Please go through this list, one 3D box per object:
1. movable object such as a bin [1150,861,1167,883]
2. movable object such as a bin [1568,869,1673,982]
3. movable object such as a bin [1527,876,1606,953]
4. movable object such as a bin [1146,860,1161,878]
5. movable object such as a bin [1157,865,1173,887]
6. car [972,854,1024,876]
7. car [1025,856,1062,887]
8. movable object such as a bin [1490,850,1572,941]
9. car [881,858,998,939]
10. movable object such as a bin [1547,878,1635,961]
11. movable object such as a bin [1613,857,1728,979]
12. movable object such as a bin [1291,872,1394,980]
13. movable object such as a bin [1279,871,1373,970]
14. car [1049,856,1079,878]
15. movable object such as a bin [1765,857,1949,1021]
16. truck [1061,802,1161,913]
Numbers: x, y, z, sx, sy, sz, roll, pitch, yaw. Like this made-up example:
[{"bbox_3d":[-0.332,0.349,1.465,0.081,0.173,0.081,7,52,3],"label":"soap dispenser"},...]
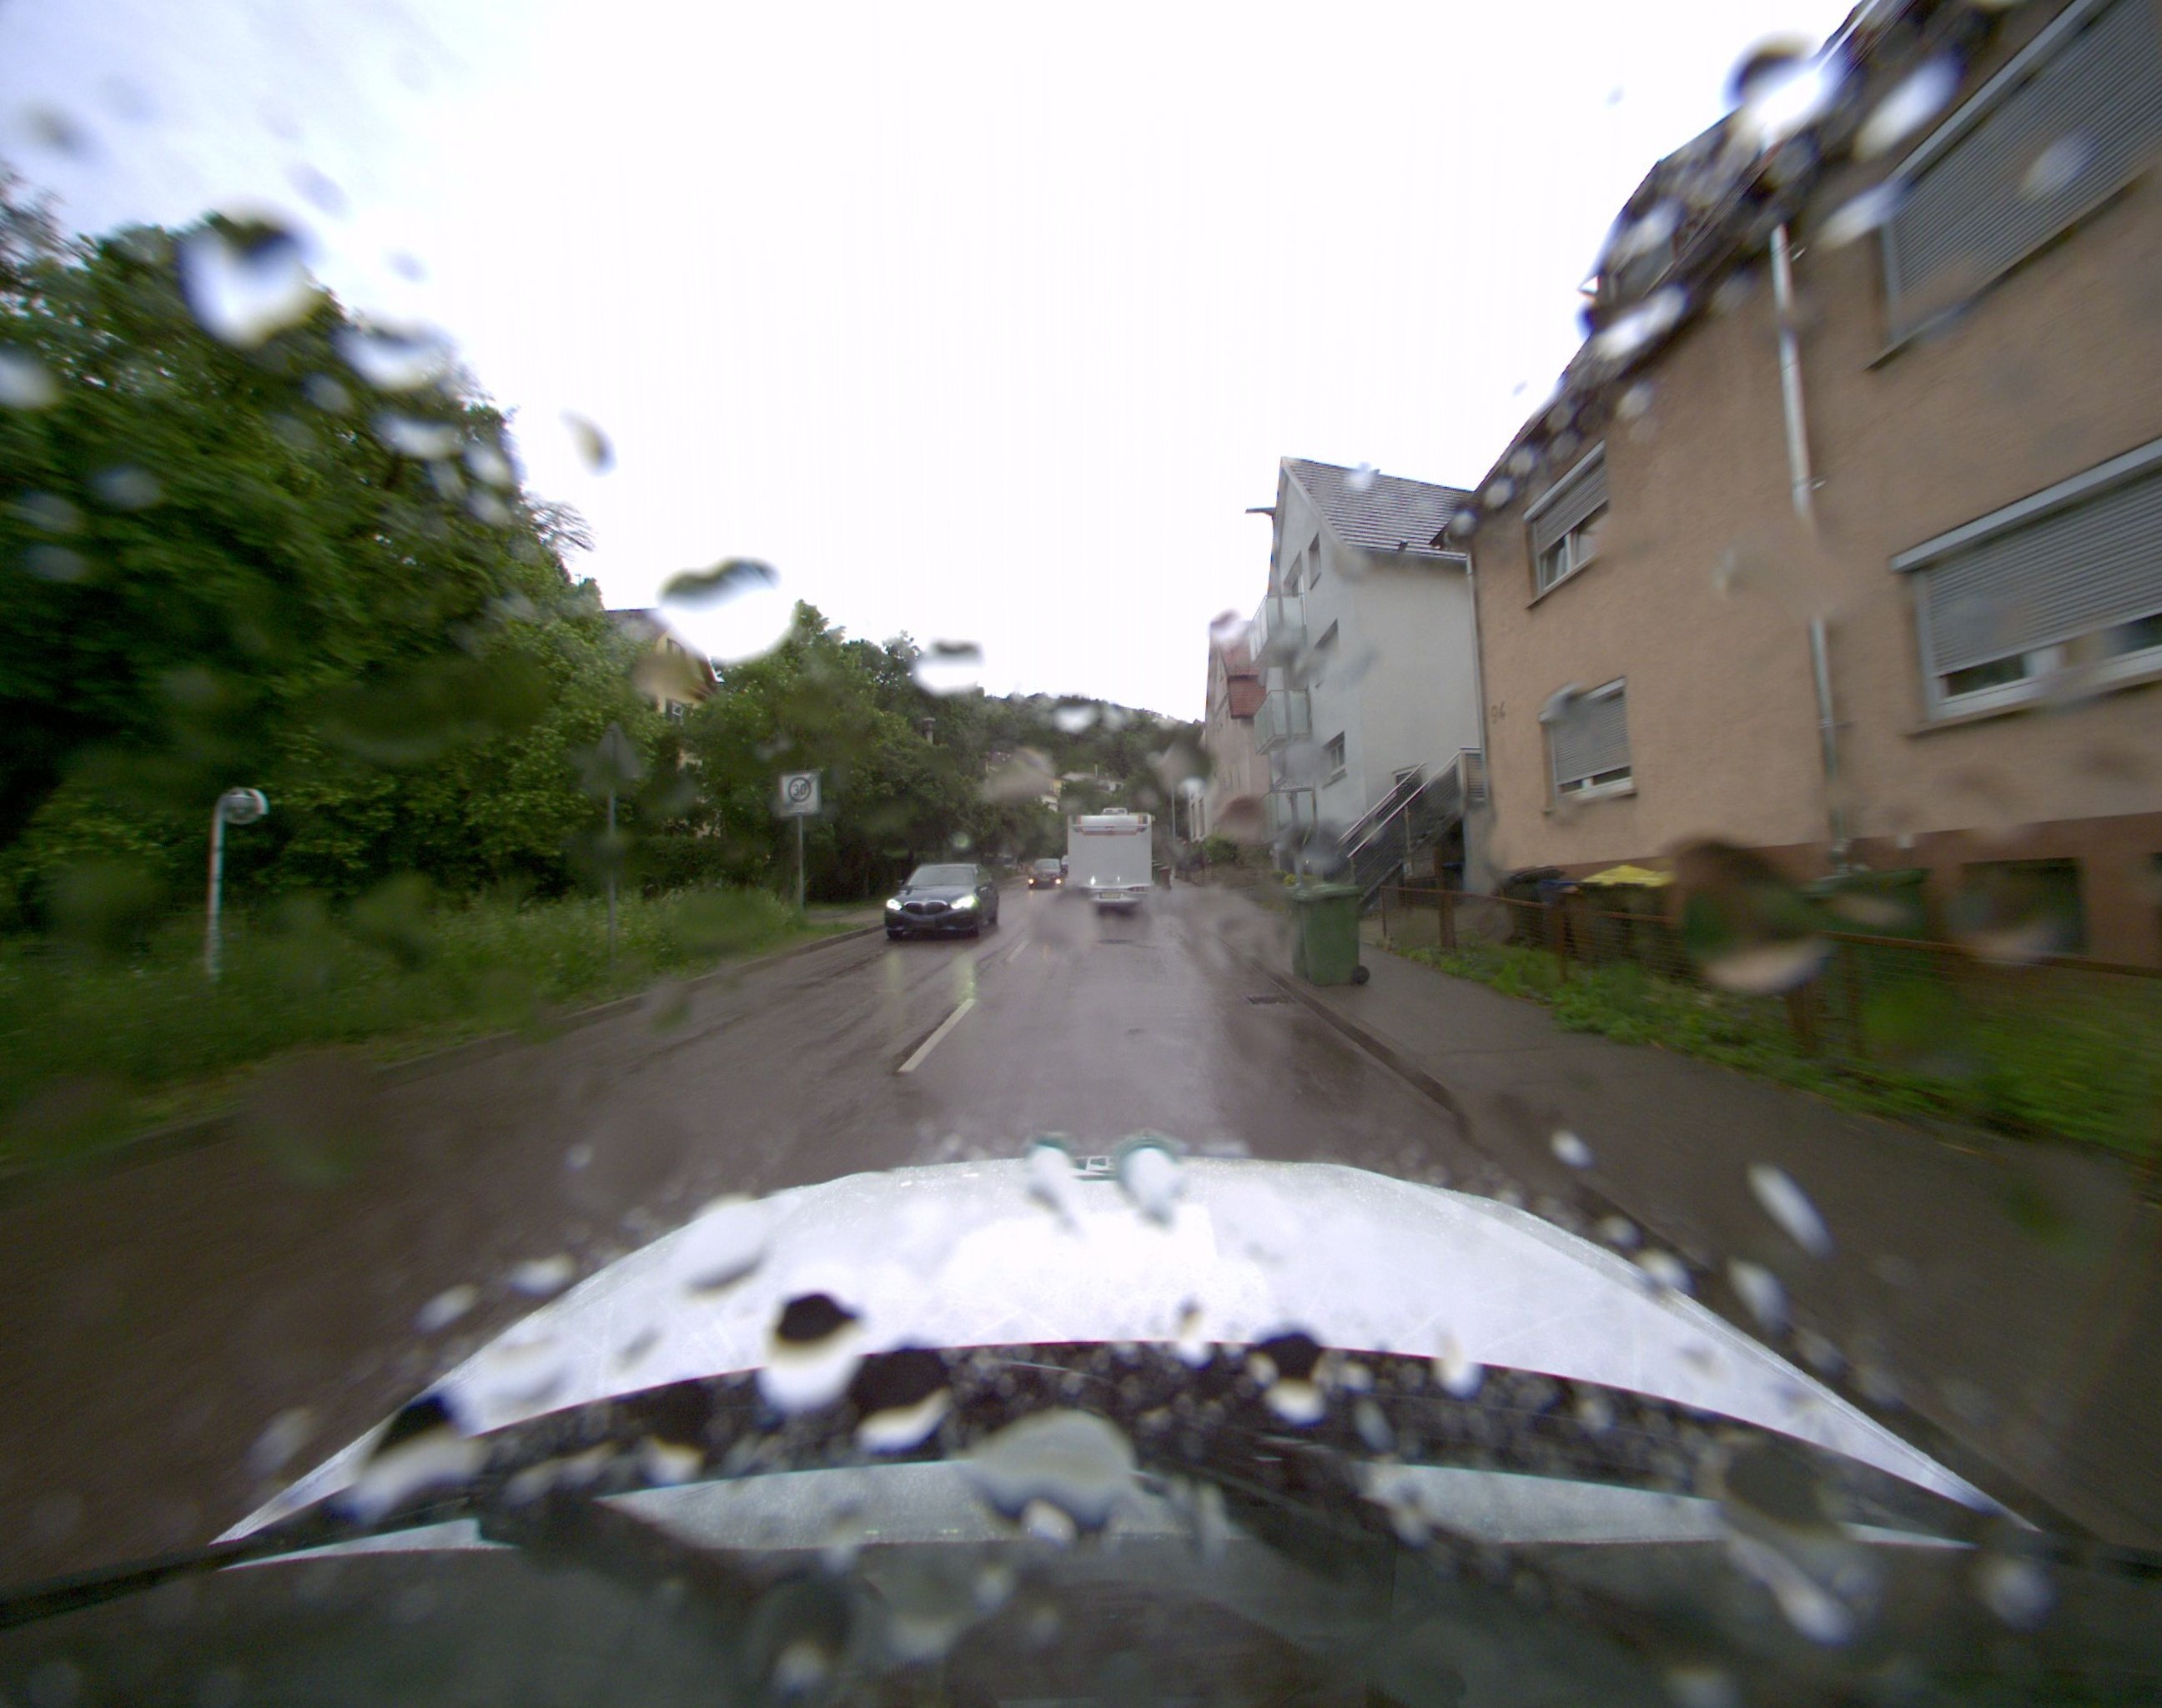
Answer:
[{"bbox_3d":[3.940,0.903,41.412,0.793,1.070,0.762,-1,0,3],"label":"movable object such as a bin"},{"bbox_3d":[5.722,0.743,8.663,0.658,1.093,0.545,-5,0,0],"label":"movable object such as a bin"},{"bbox_3d":[5.925,0.726,9.956,0.635,0.895,0.536,-1,0,1],"label":"movable object such as a bin"},{"bbox_3d":[4.339,0.876,48.866,0.832,1.061,0.750,-1,0,3],"label":"movable object such as a bin"},{"bbox_3d":[3.502,0.924,33.978,0.628,0.897,0.712,-1,0,2],"label":"movable object such as a bin"},{"bbox_3d":[-7.037,0.923,69.344,4.088,1.800,2.002,-1,0,3],"label":"car"},{"bbox_3d":[-1.831,0.860,40.868,1.613,1.441,3.738,-1,0,1],"label":"car"},{"bbox_3d":[5.813,0.525,10.544,0.658,1.093,0.545,-5,0,0],"label":"movable object such as a bin"},{"bbox_3d":[-2.799,0.830,16.956,1.713,1.430,3.844,-1,0,0],"label":"car"},{"bbox_3d":[5.858,0.746,9.385,0.667,0.895,0.536,-1,0,1],"label":"movable object such as a bin"},{"bbox_3d":[5.776,0.607,8.008,0.642,1.093,0.545,-5,0,0],"label":"movable object such as a bin"},{"bbox_3d":[2.836,0.768,8.902,0.910,1.103,0.703,-1,0,4],"label":"movable object such as a bin"},{"bbox_3d":[2.881,0.768,9.650,0.910,1.103,0.703,-1,0,4],"label":"movable object such as a bin"},{"bbox_3d":[-1.241,0.978,62.609,1.909,1.623,4.368,-1,0,4],"label":"car"},{"bbox_3d":[5.731,0.598,6.053,0.658,1.093,0.656,-5,0,0],"label":"movable object such as a bin"},{"bbox_3d":[0.875,0.089,24.116,2.506,2.817,6.204,-1,0,2],"label":"truck"}]
